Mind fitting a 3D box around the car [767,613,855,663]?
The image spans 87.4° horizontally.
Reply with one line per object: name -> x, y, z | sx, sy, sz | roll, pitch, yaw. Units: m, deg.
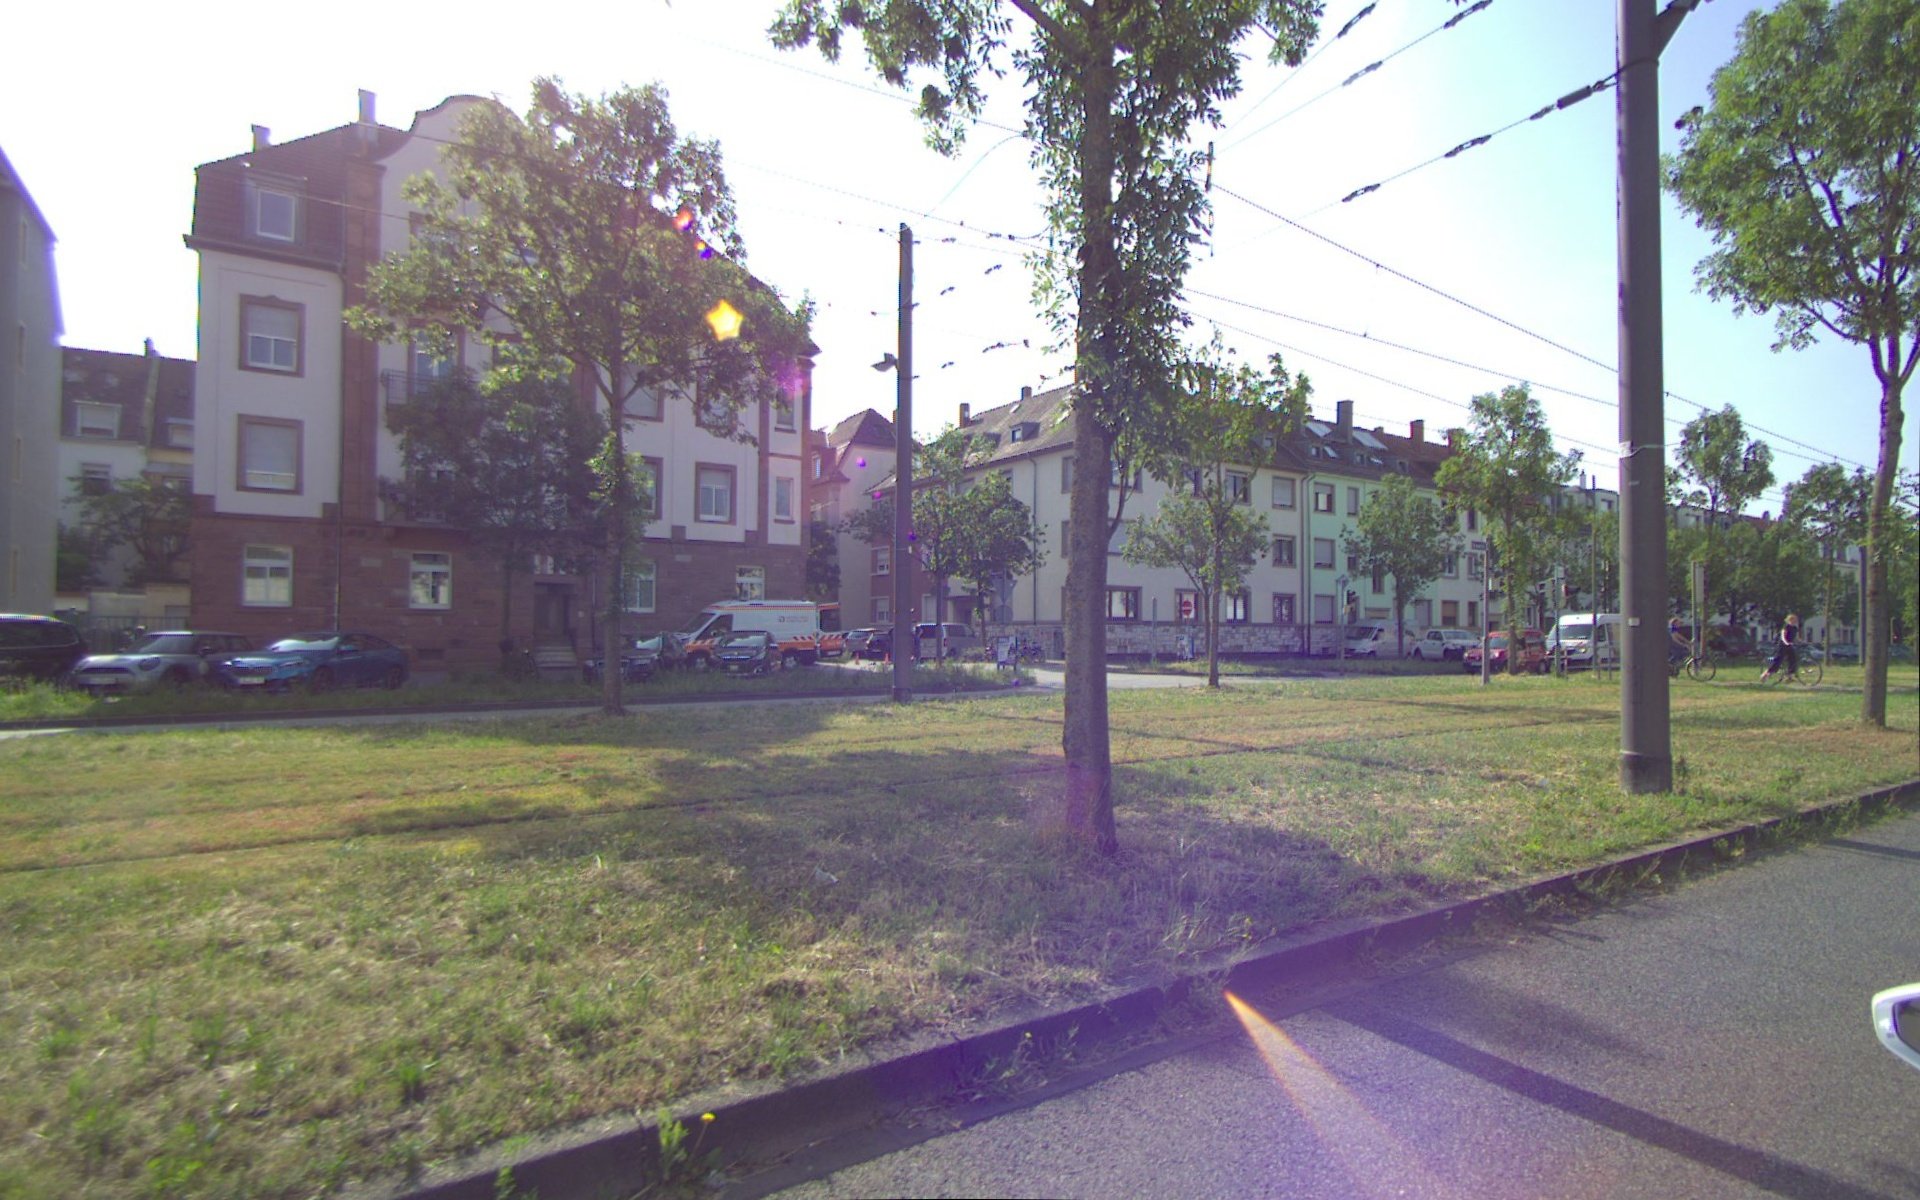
car -> -6.691, 1.655, 44.661 | 1.996, 1.965, 4.626 | 2, 0, -35

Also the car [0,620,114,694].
car -> -18.623, 1.080, 19.143 | 1.606, 1.286, 4.000 | 2, 0, -1

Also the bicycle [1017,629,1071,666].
bicycle -> 3.770, 2.118, 45.195 | 1.091, 1.481, 2.660 | 2, 0, -30

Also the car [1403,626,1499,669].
car -> 23.123, 2.183, 47.559 | 1.960, 1.761, 5.327 | 2, 0, 0

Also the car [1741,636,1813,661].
car -> 56.635, 3.347, 69.716 | 1.437, 1.550, 3.995 | 2, 0, -7

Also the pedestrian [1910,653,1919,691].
pedestrian -> 22.781, 1.701, 23.766 | 0.456, 0.887, 0.339 | 2, 0, -33

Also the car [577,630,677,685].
car -> -8.286, 1.397, 25.209 | 1.468, 1.176, 3.164 | 2, 0, -1

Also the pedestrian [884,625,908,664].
pedestrian -> -2.610, 1.814, 40.983 | 0.717, 1.543, 0.634 | 2, 0, -30

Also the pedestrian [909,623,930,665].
pedestrian -> -1.679, 1.811, 41.334 | 0.612, 1.688, 0.579 | 2, 0, -30

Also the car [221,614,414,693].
car -> -13.615, 1.073, 21.588 | 1.546, 1.436, 4.000 | 2, 0, 0

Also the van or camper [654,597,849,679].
van or camper -> -7.150, 1.314, 34.865 | 6.292, 2.601, 2.026 | 2, 0, -35

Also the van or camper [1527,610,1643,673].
van or camper -> 27.300, 1.798, 43.765 | 5.973, 2.565, 2.188 | 2, 0, -36

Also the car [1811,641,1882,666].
car -> 67.965, 4.078, 77.069 | 1.625, 1.617, 3.995 | 2, 0, -7

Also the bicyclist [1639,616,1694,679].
bicyclist -> 20.749, 1.383, 29.507 | 0.680, 1.785, 1.137 | 2, 0, -39

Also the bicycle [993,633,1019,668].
bicycle -> 2.005, 2.181, 44.092 | 0.961, 1.378, 3.059 | 2, 0, 1

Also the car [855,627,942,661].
car -> -3.255, 2.339, 53.749 | 4.356, 1.704, 1.976 | 2, 0, -41

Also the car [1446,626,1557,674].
car -> 21.565, 1.984, 39.976 | 4.247, 1.716, 1.955 | 2, 0, -30

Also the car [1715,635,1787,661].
car -> 54.040, 3.252, 68.696 | 1.437, 1.550, 3.995 | 2, 0, -7

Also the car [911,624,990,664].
car -> -0.415, 2.099, 49.031 | 1.980, 1.790, 4.325 | 2, 0, 29

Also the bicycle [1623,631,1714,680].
bicycle -> 20.761, 1.605, 29.455 | 0.777, 1.341, 2.050 | 2, -1, -39

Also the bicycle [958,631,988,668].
bicycle -> 0.592, 2.143, 44.115 | 0.912, 1.481, 3.222 | 2, 0, 8

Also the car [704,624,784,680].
car -> -5.858, 1.377, 27.549 | 1.467, 1.344, 3.165 | 2, 0, 0

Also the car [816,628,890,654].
car -> -6.200, 2.366, 58.203 | 3.993, 1.389, 1.693 | 2, 0, -41

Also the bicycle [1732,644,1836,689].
bicycle -> 22.134, 1.767, 27.035 | 0.660, 1.056, 2.057 | 2, 0, -28

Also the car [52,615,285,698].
car -> -16.119, 1.085, 20.748 | 1.546, 1.436, 4.001 | 2, 0, 1

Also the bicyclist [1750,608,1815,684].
bicyclist -> 22.183, 1.227, 27.099 | 0.677, 1.960, 1.142 | 2, 0, -27

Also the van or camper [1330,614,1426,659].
van or camper -> 23.432, 2.087, 56.260 | 5.763, 2.359, 1.982 | 2, 0, -32

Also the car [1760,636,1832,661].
car -> 59.270, 3.445, 71.271 | 1.437, 1.550, 3.995 | 2, 0, -7

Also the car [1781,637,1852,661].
car -> 62.955, 3.585, 73.886 | 1.437, 1.550, 3.995 | 2, 0, -7

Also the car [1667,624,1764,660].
car -> 48.945, 2.687, 65.229 | 1.842, 2.040, 5.228 | 2, 0, -7
